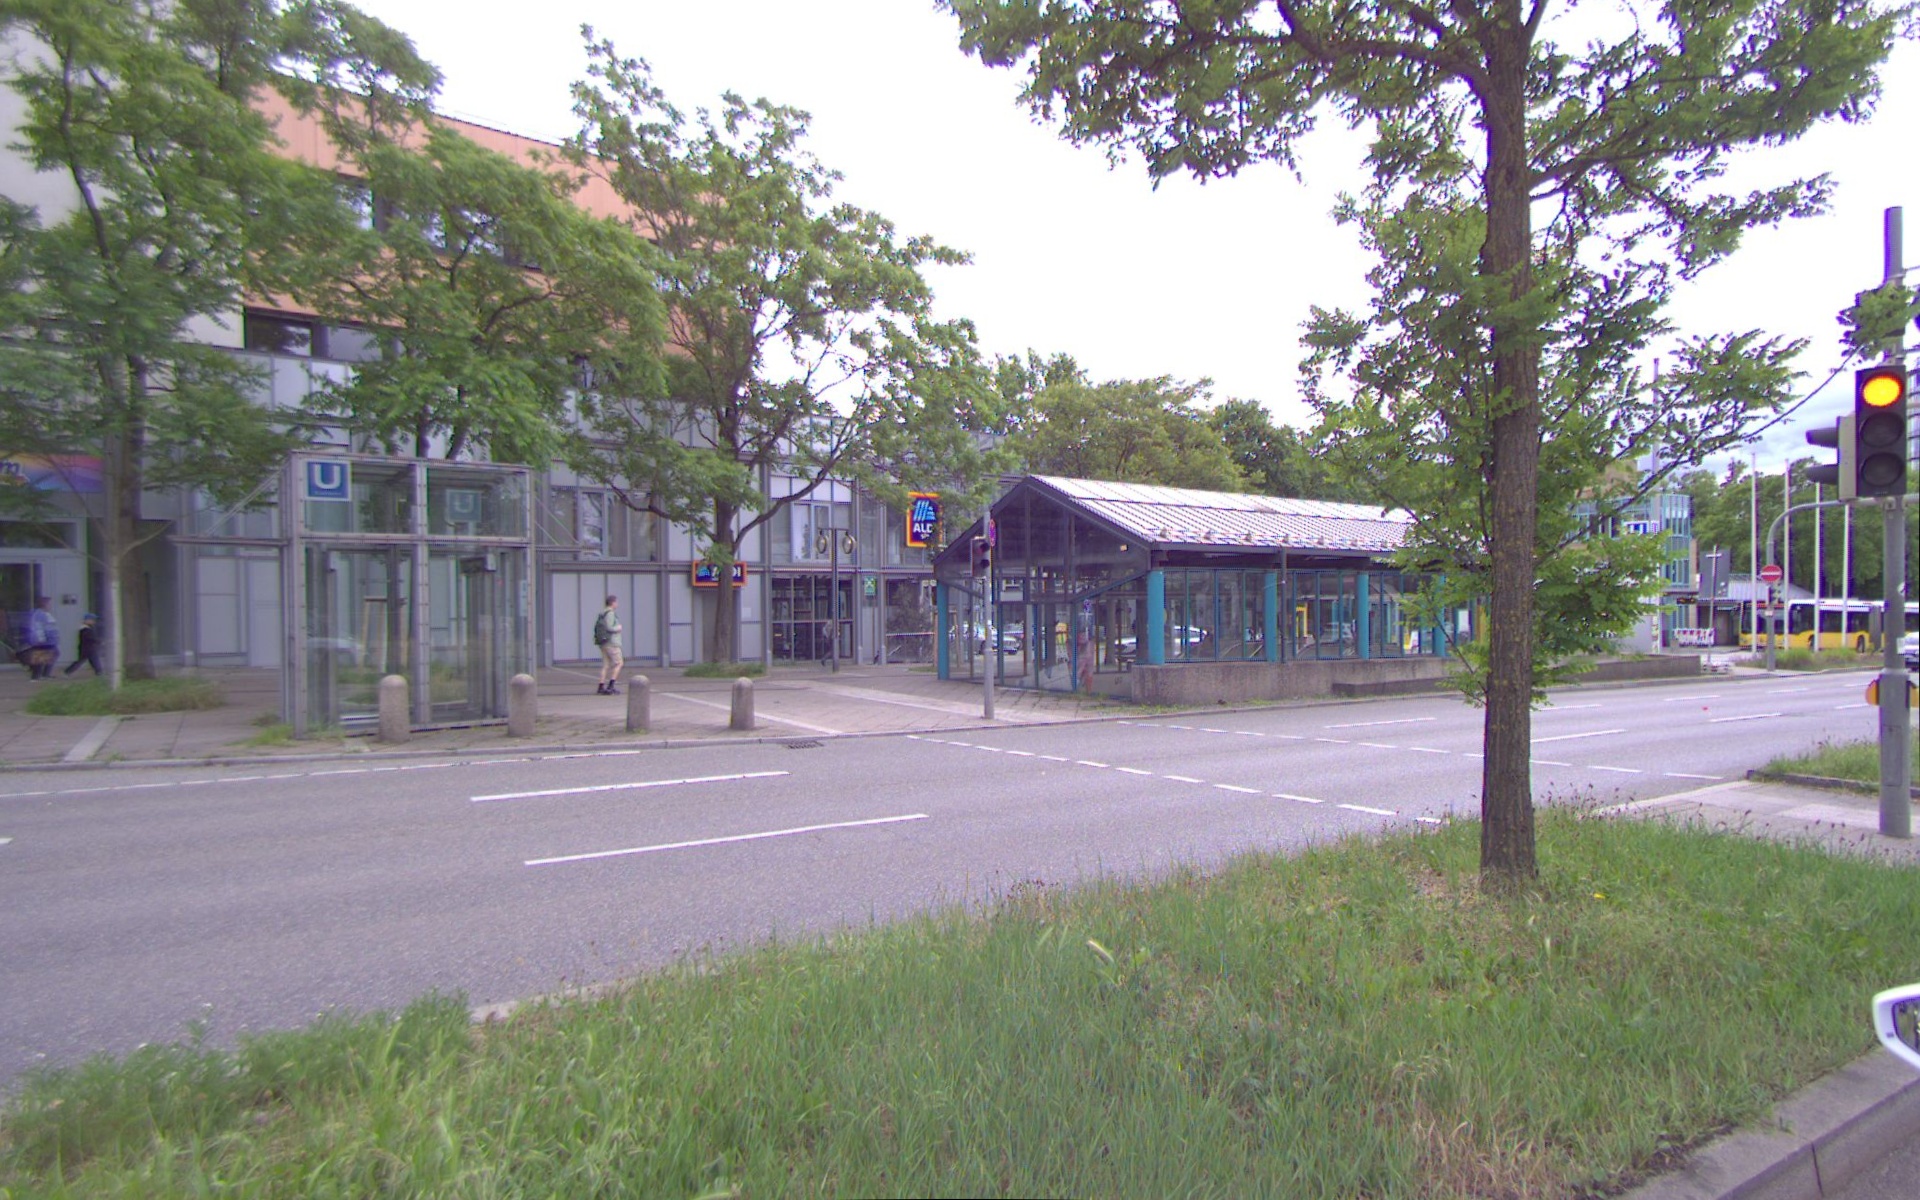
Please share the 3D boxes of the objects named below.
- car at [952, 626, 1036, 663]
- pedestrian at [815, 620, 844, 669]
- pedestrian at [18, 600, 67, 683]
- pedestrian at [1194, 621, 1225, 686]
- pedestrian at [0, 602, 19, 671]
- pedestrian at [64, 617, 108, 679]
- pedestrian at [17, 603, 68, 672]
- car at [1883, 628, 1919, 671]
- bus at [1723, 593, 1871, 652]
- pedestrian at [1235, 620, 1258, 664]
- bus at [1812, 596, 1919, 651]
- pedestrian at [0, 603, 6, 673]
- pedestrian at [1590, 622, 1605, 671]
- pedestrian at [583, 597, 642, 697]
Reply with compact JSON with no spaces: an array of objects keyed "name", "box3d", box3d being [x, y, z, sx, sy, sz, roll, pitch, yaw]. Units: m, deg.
[{"name":"car","box3d":[1.658,2.192,50.386,1.769,1.710,4.838,1,-1,-33]},{"name":"pedestrian","box3d":[-4.053,1.363,31.218,0.748,1.499,0.525,1,-1,-36]},{"name":"pedestrian","box3d":[-17.225,0.770,18.874,0.617,1.523,0.562,1,-1,-40]},{"name":"pedestrian","box3d":[6.998,1.481,28.171,0.750,1.786,0.524,1,-1,-40]},{"name":"pedestrian","box3d":[-19.708,0.746,20.459,0.689,1.393,0.578,1,-1,-37]},{"name":"pedestrian","box3d":[-17.162,0.935,19.743,0.617,1.197,0.417,1,-1,-40]},{"name":"pedestrian","box3d":[-19.012,0.769,20.825,0.689,1.393,0.578,1,-1,-37]},{"name":"car","box3d":[37.556,1.912,39.172,3.316,1.599,1.673,1,-1,-36]},{"name":"bus","box3d":[49.932,1.378,59.833,10.036,3.293,2.980,1,-1,-26]},{"name":"pedestrian","box3d":[11.088,1.609,38.853,0.703,1.677,0.517,1,-1,-37]},{"name":"bus","box3d":[57.929,1.539,63.773,7.771,3.313,2.980,1,-1,-26]},{"name":"pedestrian","box3d":[-19.379,0.753,19.832,0.689,1.393,0.578,1,-1,-37]},{"name":"pedestrian","box3d":[20.996,1.522,33.079,0.412,1.612,0.356,0,-1,31]},{"name":"pedestrian","box3d":[-6.628,0.887,19.181,0.530,1.857,0.916,0,-1,44]}]
